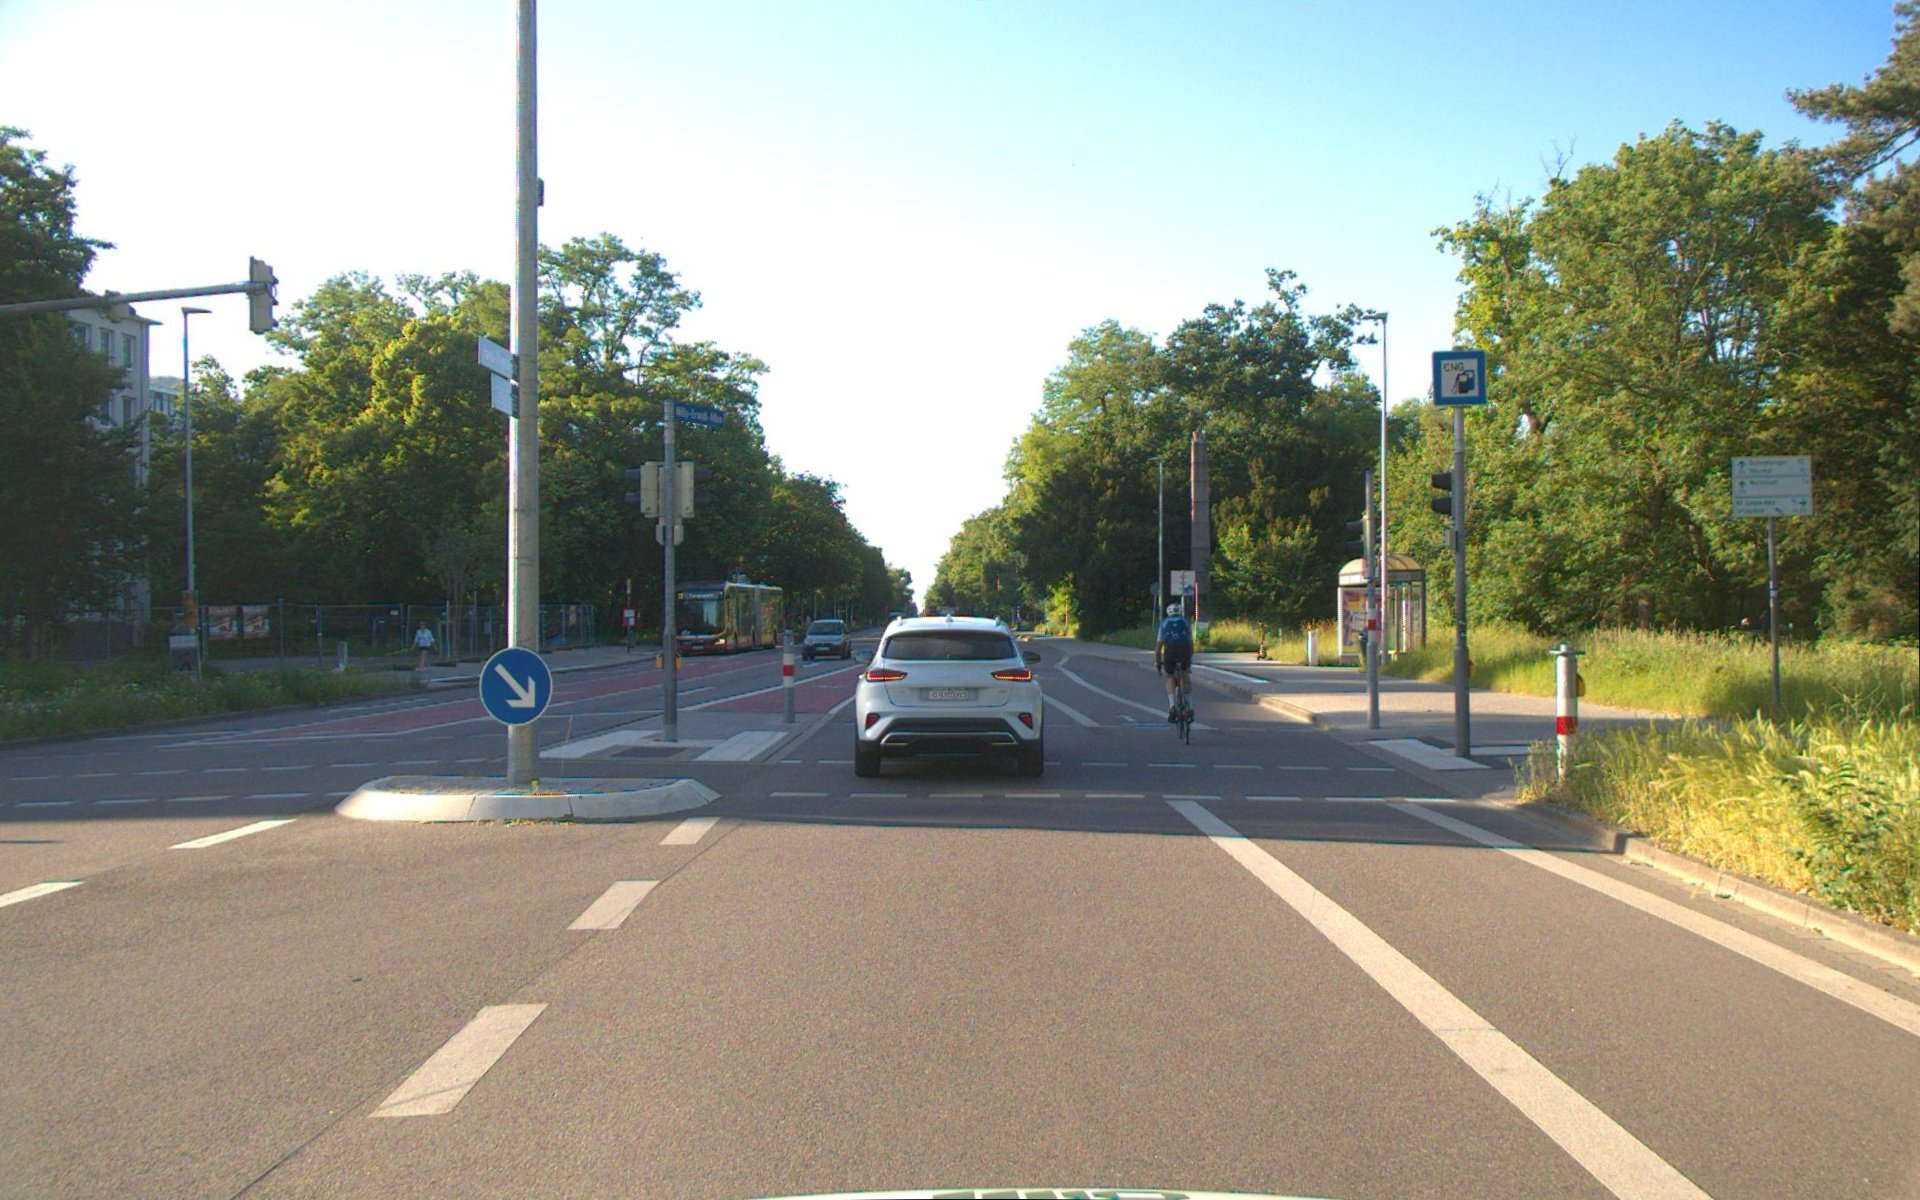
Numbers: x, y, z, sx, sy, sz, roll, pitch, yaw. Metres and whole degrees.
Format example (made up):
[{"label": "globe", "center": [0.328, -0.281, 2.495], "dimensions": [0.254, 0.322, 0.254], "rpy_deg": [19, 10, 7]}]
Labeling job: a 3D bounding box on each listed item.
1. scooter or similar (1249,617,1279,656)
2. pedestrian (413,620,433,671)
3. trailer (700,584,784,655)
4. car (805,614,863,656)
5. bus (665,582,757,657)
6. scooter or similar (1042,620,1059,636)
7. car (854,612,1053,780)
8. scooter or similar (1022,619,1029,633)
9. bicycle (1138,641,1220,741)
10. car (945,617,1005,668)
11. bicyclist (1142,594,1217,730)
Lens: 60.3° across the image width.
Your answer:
[{"label": "scooter or similar", "center": [10.099, 1.220, 54.935], "dimensions": [0.707, 1.269, 1.328], "rpy_deg": [-2, -1, 22]}, {"label": "pedestrian", "center": [-16.605, 1.411, 51.118], "dimensions": [0.442, 1.561, 0.571], "rpy_deg": [-1, -1, -4]}, {"label": "trailer", "center": [-11.204, 1.022, 85.787], "dimensions": [2.795, 3.414, 9.363], "rpy_deg": [1, -1, 2]}, {"label": "car", "center": [-4.602, 1.268, 60.833], "dimensions": [1.675, 1.446, 4.555], "rpy_deg": [-1, -1, 1]}, {"label": "bus", "center": [-11.438, 0.888, 76.815], "dimensions": [2.782, 3.253, 8.600], "rpy_deg": [-1, -1, 1]}, {"label": "scooter or similar", "center": [7.585, 2.345, 138.755], "dimensions": [1.529, 1.272, 0.526], "rpy_deg": [0, -1, -45]}, {"label": "car", "center": [-0.177, 0.878, 16.695], "dimensions": [1.727, 1.485, 3.814], "rpy_deg": [0, -1, -4]}, {"label": "scooter or similar", "center": [7.254, 2.853, 182.364], "dimensions": [0.668, 1.448, 1.681], "rpy_deg": [0, -1, -1]}, {"label": "bicycle", "center": [2.652, 1.078, 20.252], "dimensions": [0.872, 1.114, 2.137], "rpy_deg": [1, -1, 5]}, {"label": "car", "center": [0.478, 1.227, 48.920], "dimensions": [1.641, 1.442, 3.575], "rpy_deg": [-1, -1, 3]}, {"label": "bicyclist", "center": [2.659, 0.741, 20.137], "dimensions": [0.842, 1.594, 0.881], "rpy_deg": [1, -1, 4]}]
